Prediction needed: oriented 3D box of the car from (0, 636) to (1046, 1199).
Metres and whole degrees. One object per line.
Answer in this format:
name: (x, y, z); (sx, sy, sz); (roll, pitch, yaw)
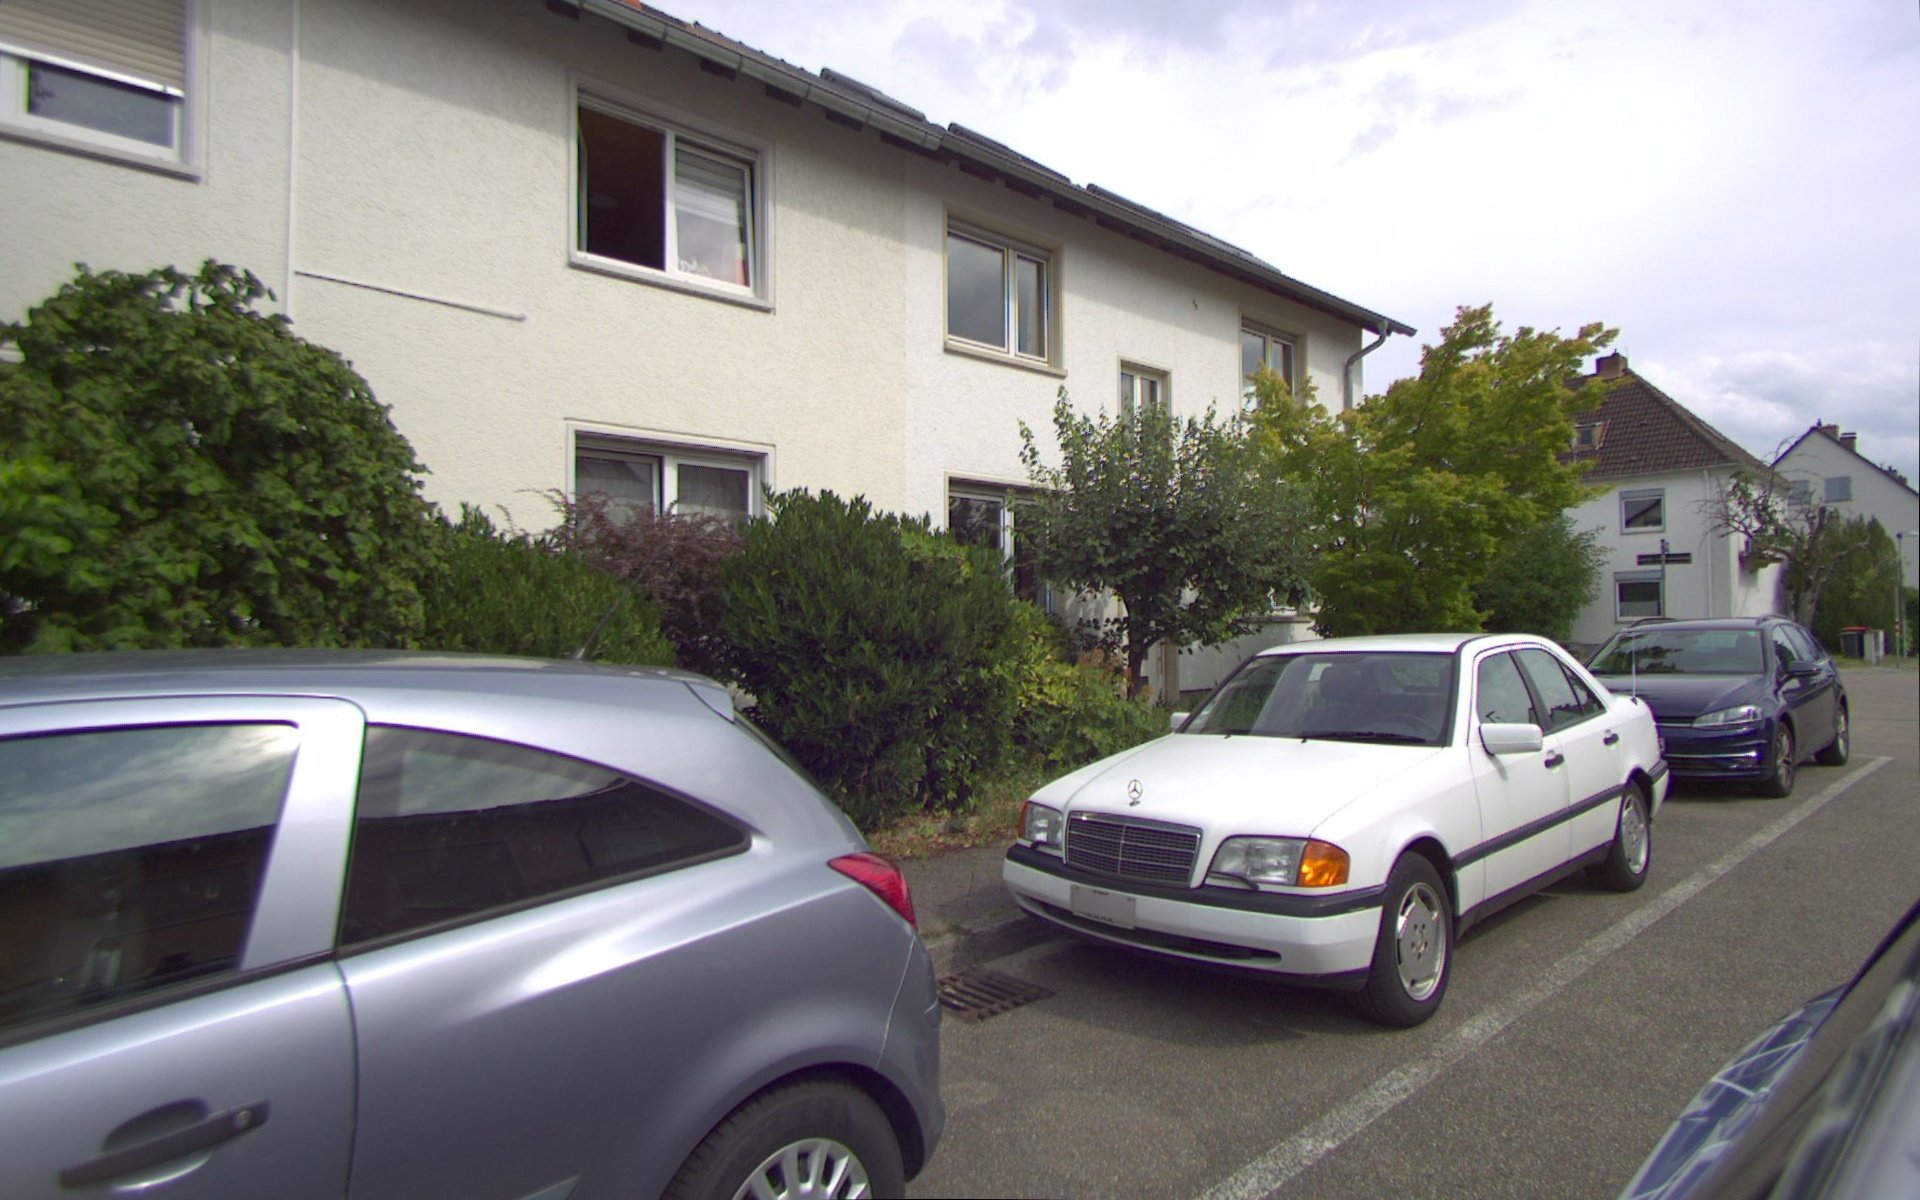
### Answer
car: (-1.917, 0.822, 1.535); (4.144, 1.490, 1.744); (1, -2, -42)

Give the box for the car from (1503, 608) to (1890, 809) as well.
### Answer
car: (7.161, 0.840, 9.638); (4.764, 1.458, 1.871); (1, -2, -40)

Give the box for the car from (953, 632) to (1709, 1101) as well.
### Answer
car: (2.251, 0.876, 5.263); (4.616, 1.382, 1.695); (1, -2, -41)

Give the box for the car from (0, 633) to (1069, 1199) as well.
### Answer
car: (-1.843, 0.813, 1.594); (4.148, 1.461, 1.704); (1, -3, -43)

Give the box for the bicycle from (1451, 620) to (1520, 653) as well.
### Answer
bicycle: (19.117, 1.315, 36.841); (0.562, 1.150, 2.168); (1, -2, -39)

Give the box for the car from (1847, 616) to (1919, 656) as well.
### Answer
car: (42.038, 1.571, 44.717); (1.964, 1.728, 3.995); (1, -2, -39)
